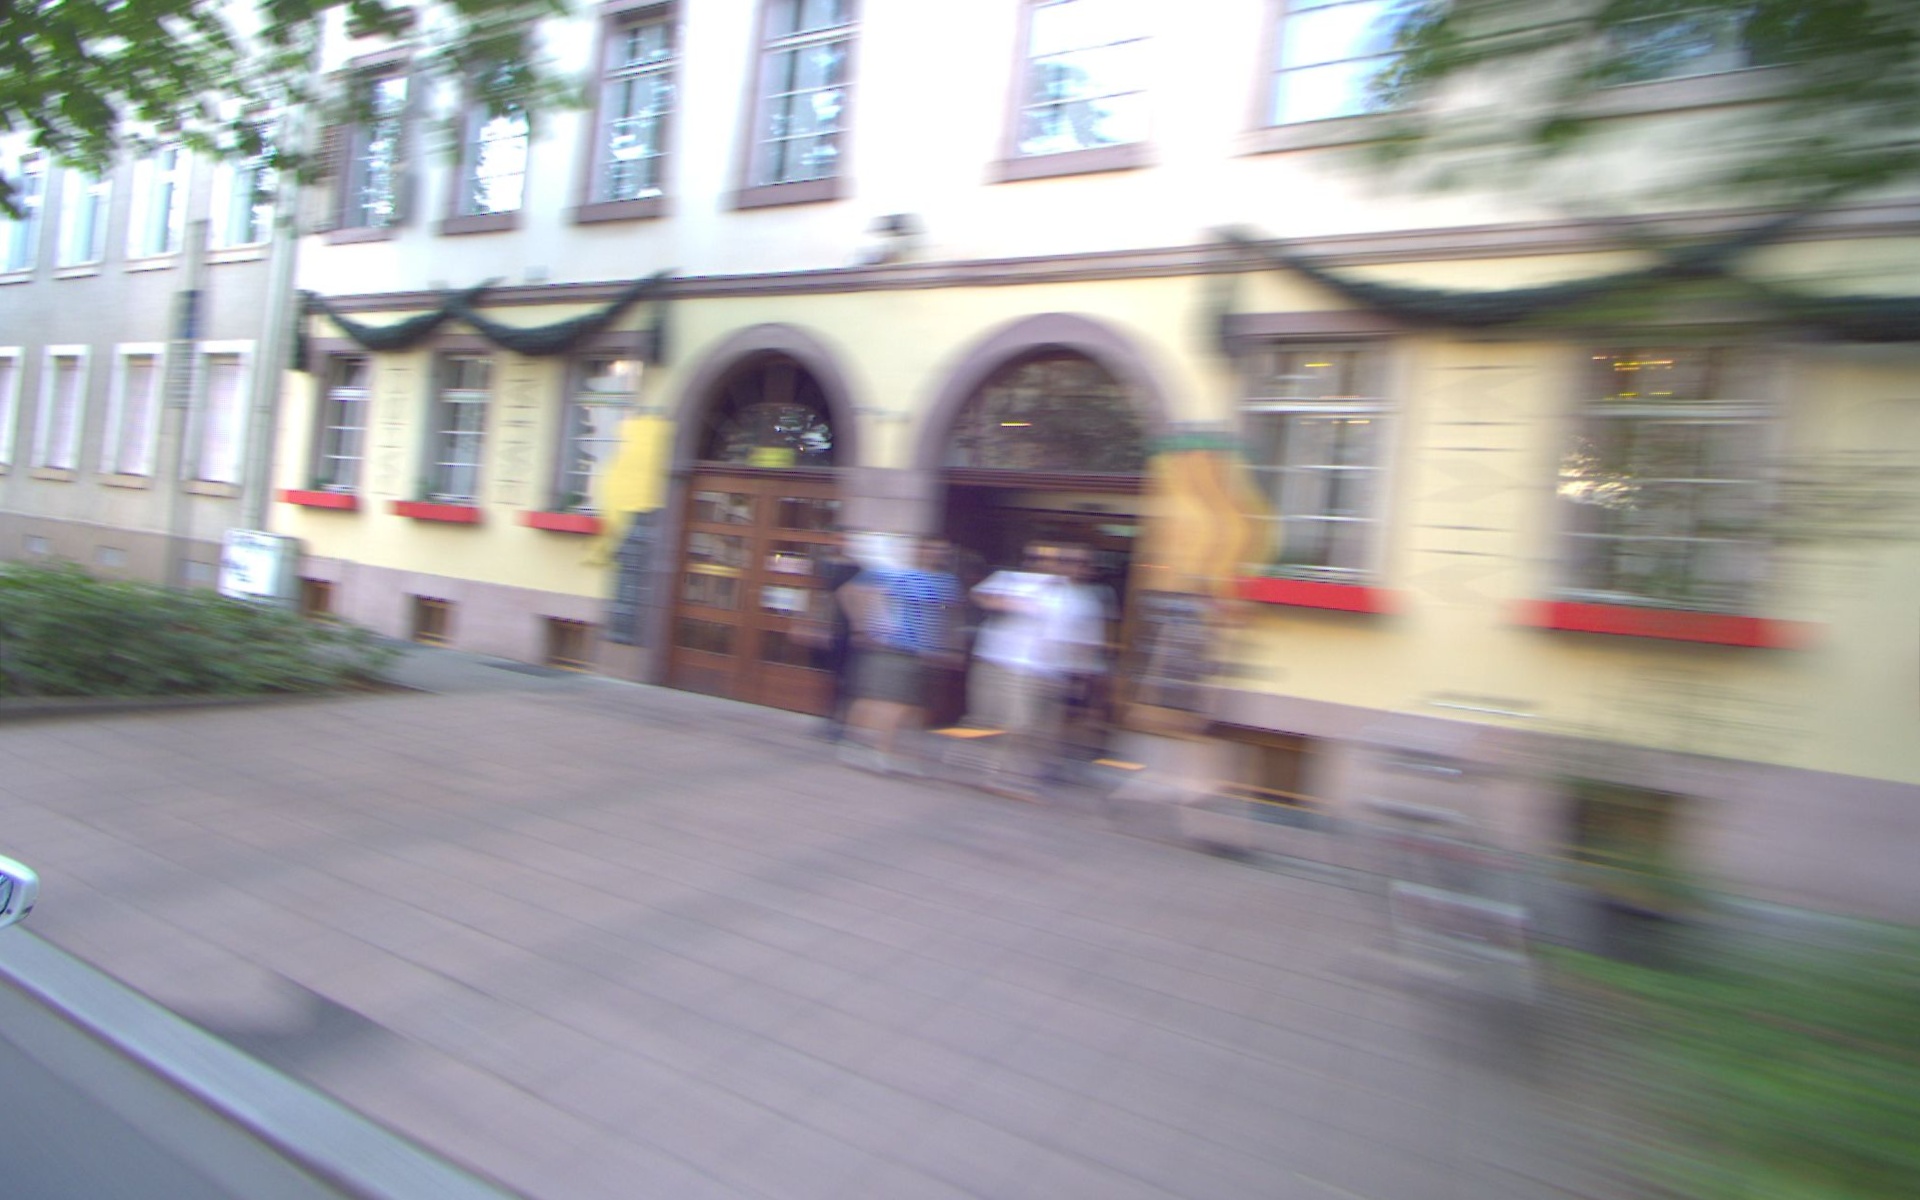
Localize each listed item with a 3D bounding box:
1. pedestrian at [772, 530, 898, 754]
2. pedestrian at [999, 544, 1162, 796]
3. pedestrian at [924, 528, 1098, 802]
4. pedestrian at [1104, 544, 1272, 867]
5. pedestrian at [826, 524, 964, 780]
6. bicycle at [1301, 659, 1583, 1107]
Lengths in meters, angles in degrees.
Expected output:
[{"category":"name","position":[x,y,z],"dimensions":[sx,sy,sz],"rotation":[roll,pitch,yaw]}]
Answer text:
[{"category":"pedestrian","position":[-1.051,0.342,8.618],"dimensions":[0.671,1.762,0.778],"rotation":[7,2,11]},{"category":"pedestrian","position":[0.905,0.514,7.610],"dimensions":[0.721,1.762,0.737],"rotation":[5,3,-36]},{"category":"pedestrian","position":[0.352,0.436,7.049],"dimensions":[0.709,1.762,0.738],"rotation":[5,3,-43]},{"category":"pedestrian","position":[1.401,0.601,6.118],"dimensions":[0.713,1.762,0.708],"rotation":[8,2,19]},{"category":"pedestrian","position":[-0.478,0.370,7.485],"dimensions":[0.612,1.762,0.616],"rotation":[8,3,27]},{"category":"bicycle","position":[1.821,0.943,4.091],"dimensions":[0.660,1.249,1.799],"rotation":[6,2,18]}]
